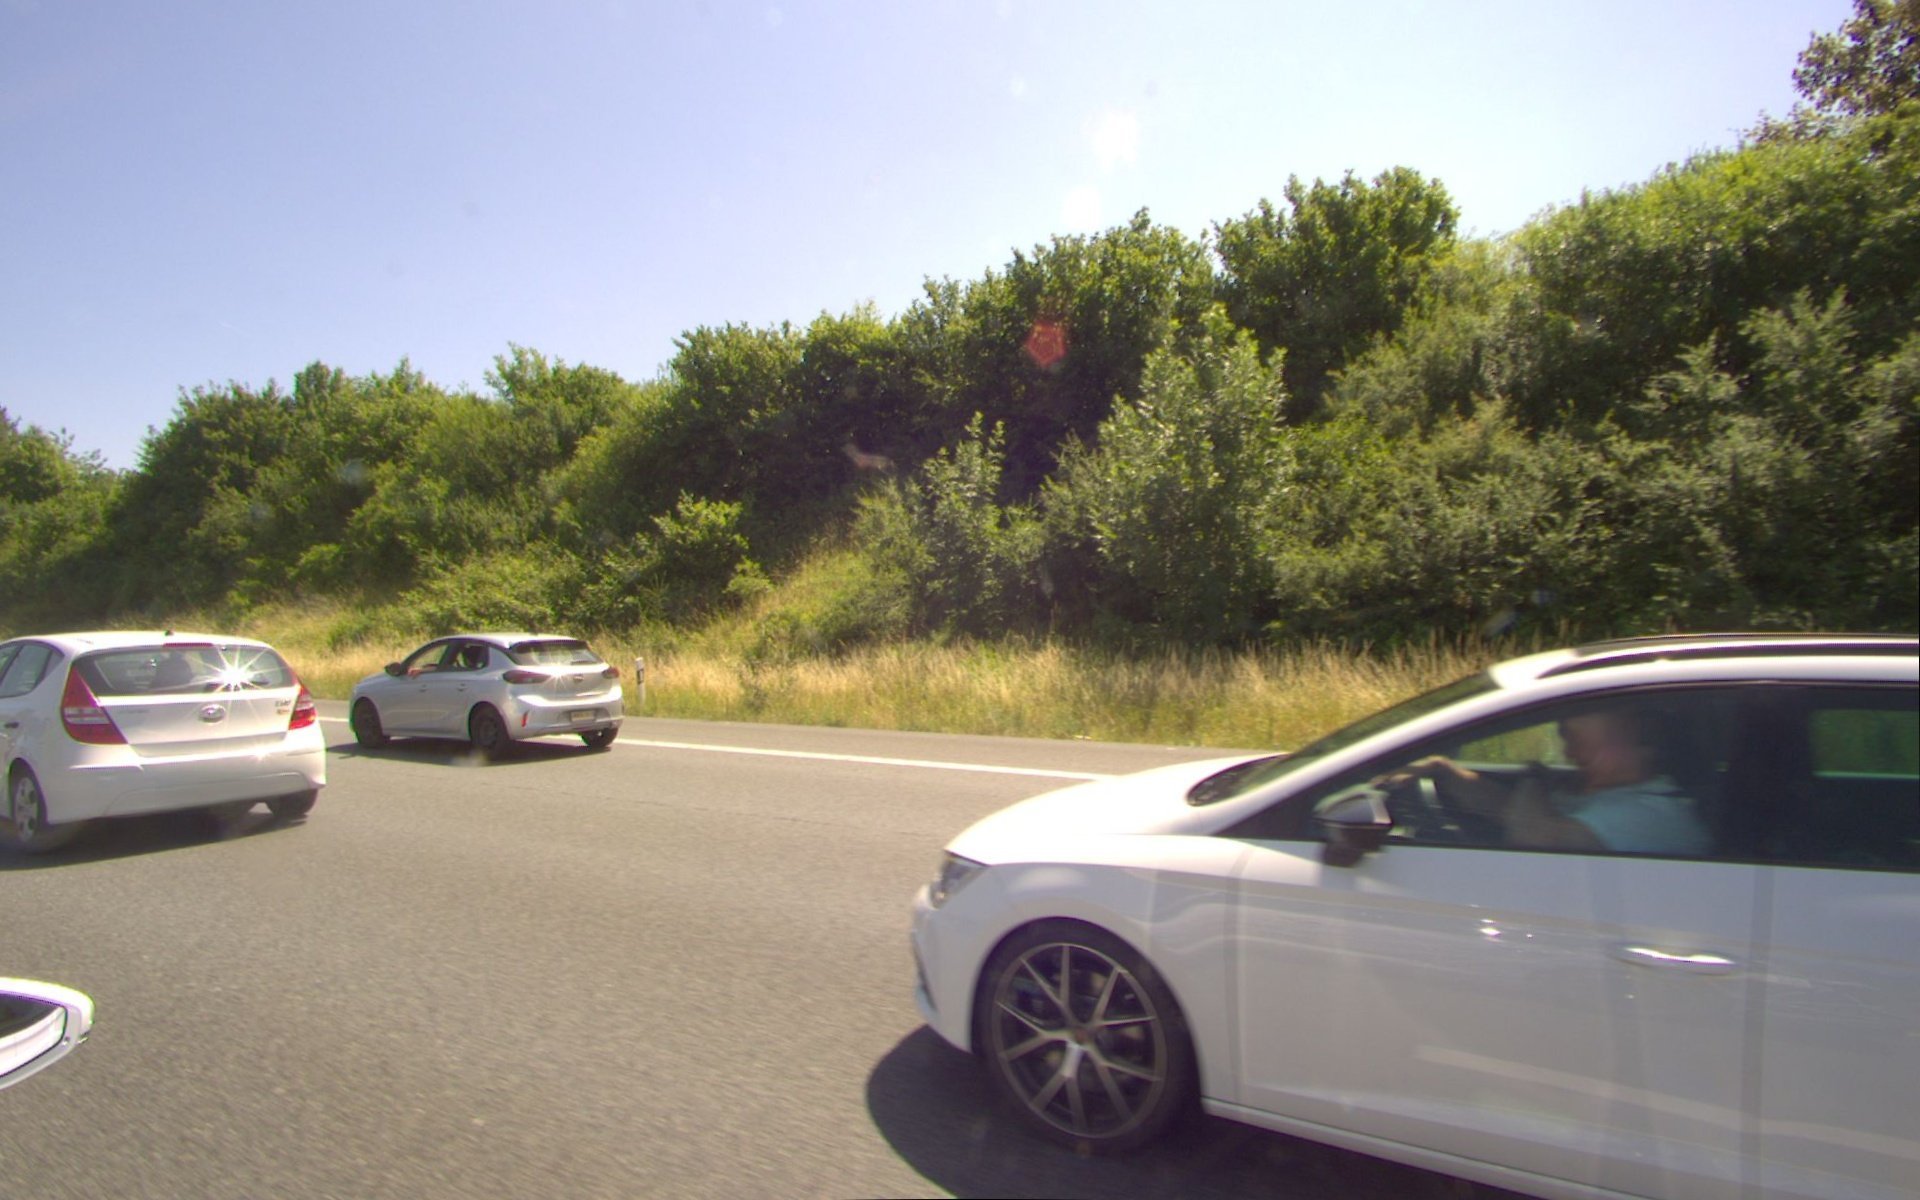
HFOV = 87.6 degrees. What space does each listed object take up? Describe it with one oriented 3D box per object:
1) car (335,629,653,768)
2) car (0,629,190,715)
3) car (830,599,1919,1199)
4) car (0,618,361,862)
[{"bbox_3d":[-5.958,1.126,12.701,3.968,1.462,1.728,0,-1,31],"label":"car"},{"bbox_3d":[-16.300,1.295,18.790,3.931,1.435,1.638,-2,-1,32],"label":"car"},{"bbox_3d":[1.848,0.759,2.814,4.251,1.461,1.745,-2,-2,32],"label":"car"},{"bbox_3d":[-6.781,0.940,8.006,3.943,1.504,1.814,-2,-2,32],"label":"car"}]
